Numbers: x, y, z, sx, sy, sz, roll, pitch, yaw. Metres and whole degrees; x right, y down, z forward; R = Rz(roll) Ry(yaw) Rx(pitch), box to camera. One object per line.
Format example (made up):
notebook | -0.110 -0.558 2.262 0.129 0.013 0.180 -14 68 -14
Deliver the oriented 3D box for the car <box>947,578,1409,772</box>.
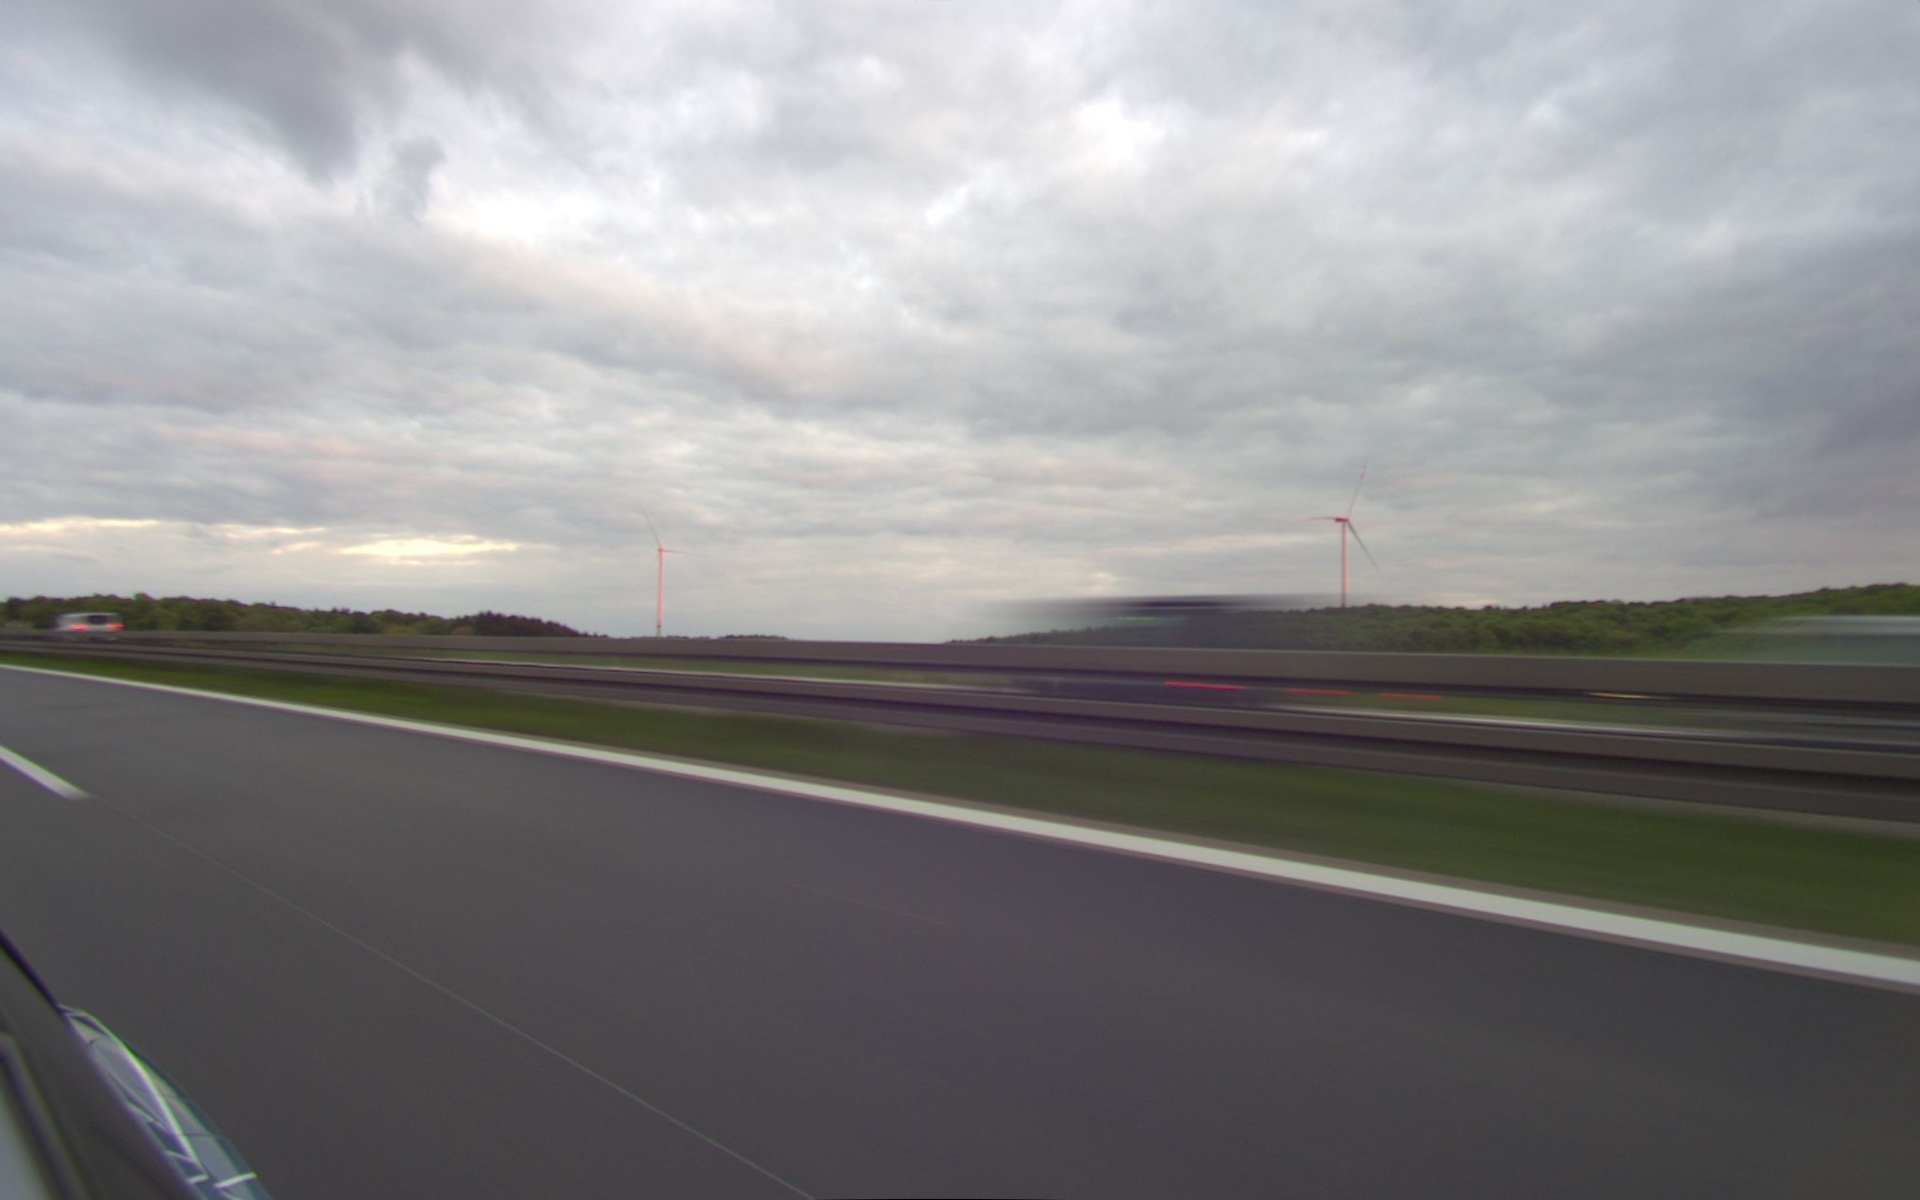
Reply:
car | 2.462 0.790 12.305 5.126 1.886 2.081 -1 -2 40

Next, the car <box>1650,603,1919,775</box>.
car | 10.121 0.884 10.563 4.666 1.672 2.005 -1 -2 40

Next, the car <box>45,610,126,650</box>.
car | -51.255 1.764 59.296 5.246 2.029 2.261 -1 -8 36
